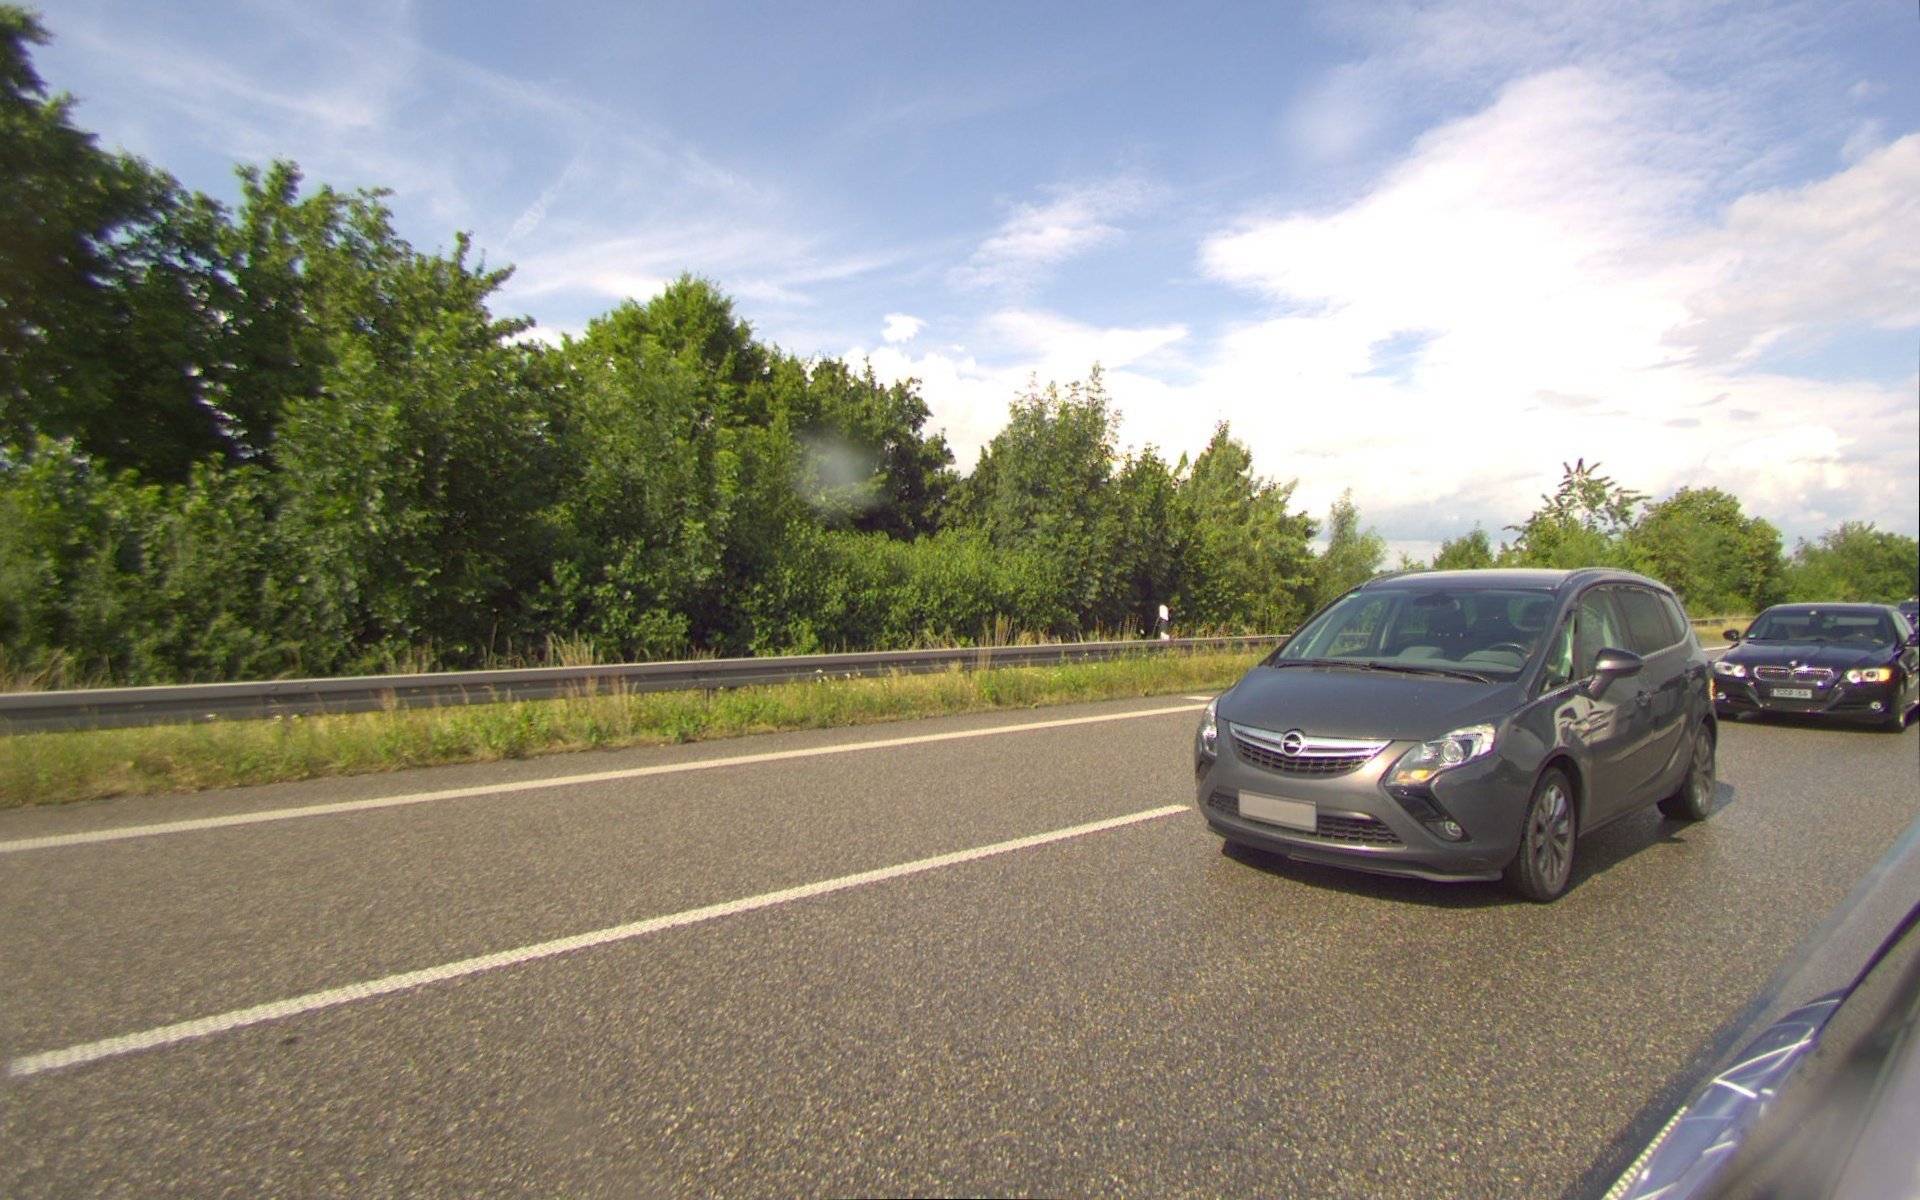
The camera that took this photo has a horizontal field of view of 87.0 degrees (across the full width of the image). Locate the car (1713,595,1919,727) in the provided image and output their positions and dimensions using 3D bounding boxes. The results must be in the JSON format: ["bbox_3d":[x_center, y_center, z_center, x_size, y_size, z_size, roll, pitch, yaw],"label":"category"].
[{"bbox_3d":[10.817,0.631,12.436,3.816,1.371,1.721,0,0,-41],"label":"car"}]

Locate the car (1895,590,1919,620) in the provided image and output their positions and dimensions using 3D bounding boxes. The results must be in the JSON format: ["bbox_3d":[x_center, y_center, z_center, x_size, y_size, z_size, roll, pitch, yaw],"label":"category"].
[{"bbox_3d":[48.203,0.231,50.521,4.327,1.449,1.746,0,1,-40],"label":"car"}]

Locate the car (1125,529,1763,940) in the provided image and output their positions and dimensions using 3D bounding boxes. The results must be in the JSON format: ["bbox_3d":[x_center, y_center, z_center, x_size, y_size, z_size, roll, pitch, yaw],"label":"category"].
[{"bbox_3d":[3.256,0.521,6.291,4.652,1.652,1.857,0,0,-40],"label":"car"}]

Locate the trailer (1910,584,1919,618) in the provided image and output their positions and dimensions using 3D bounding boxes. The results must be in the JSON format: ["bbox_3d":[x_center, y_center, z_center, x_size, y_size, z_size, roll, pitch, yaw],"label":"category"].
[{"bbox_3d":[51.381,0.042,53.106,3.898,1.768,1.809,0,0,-41],"label":"trailer"}]
